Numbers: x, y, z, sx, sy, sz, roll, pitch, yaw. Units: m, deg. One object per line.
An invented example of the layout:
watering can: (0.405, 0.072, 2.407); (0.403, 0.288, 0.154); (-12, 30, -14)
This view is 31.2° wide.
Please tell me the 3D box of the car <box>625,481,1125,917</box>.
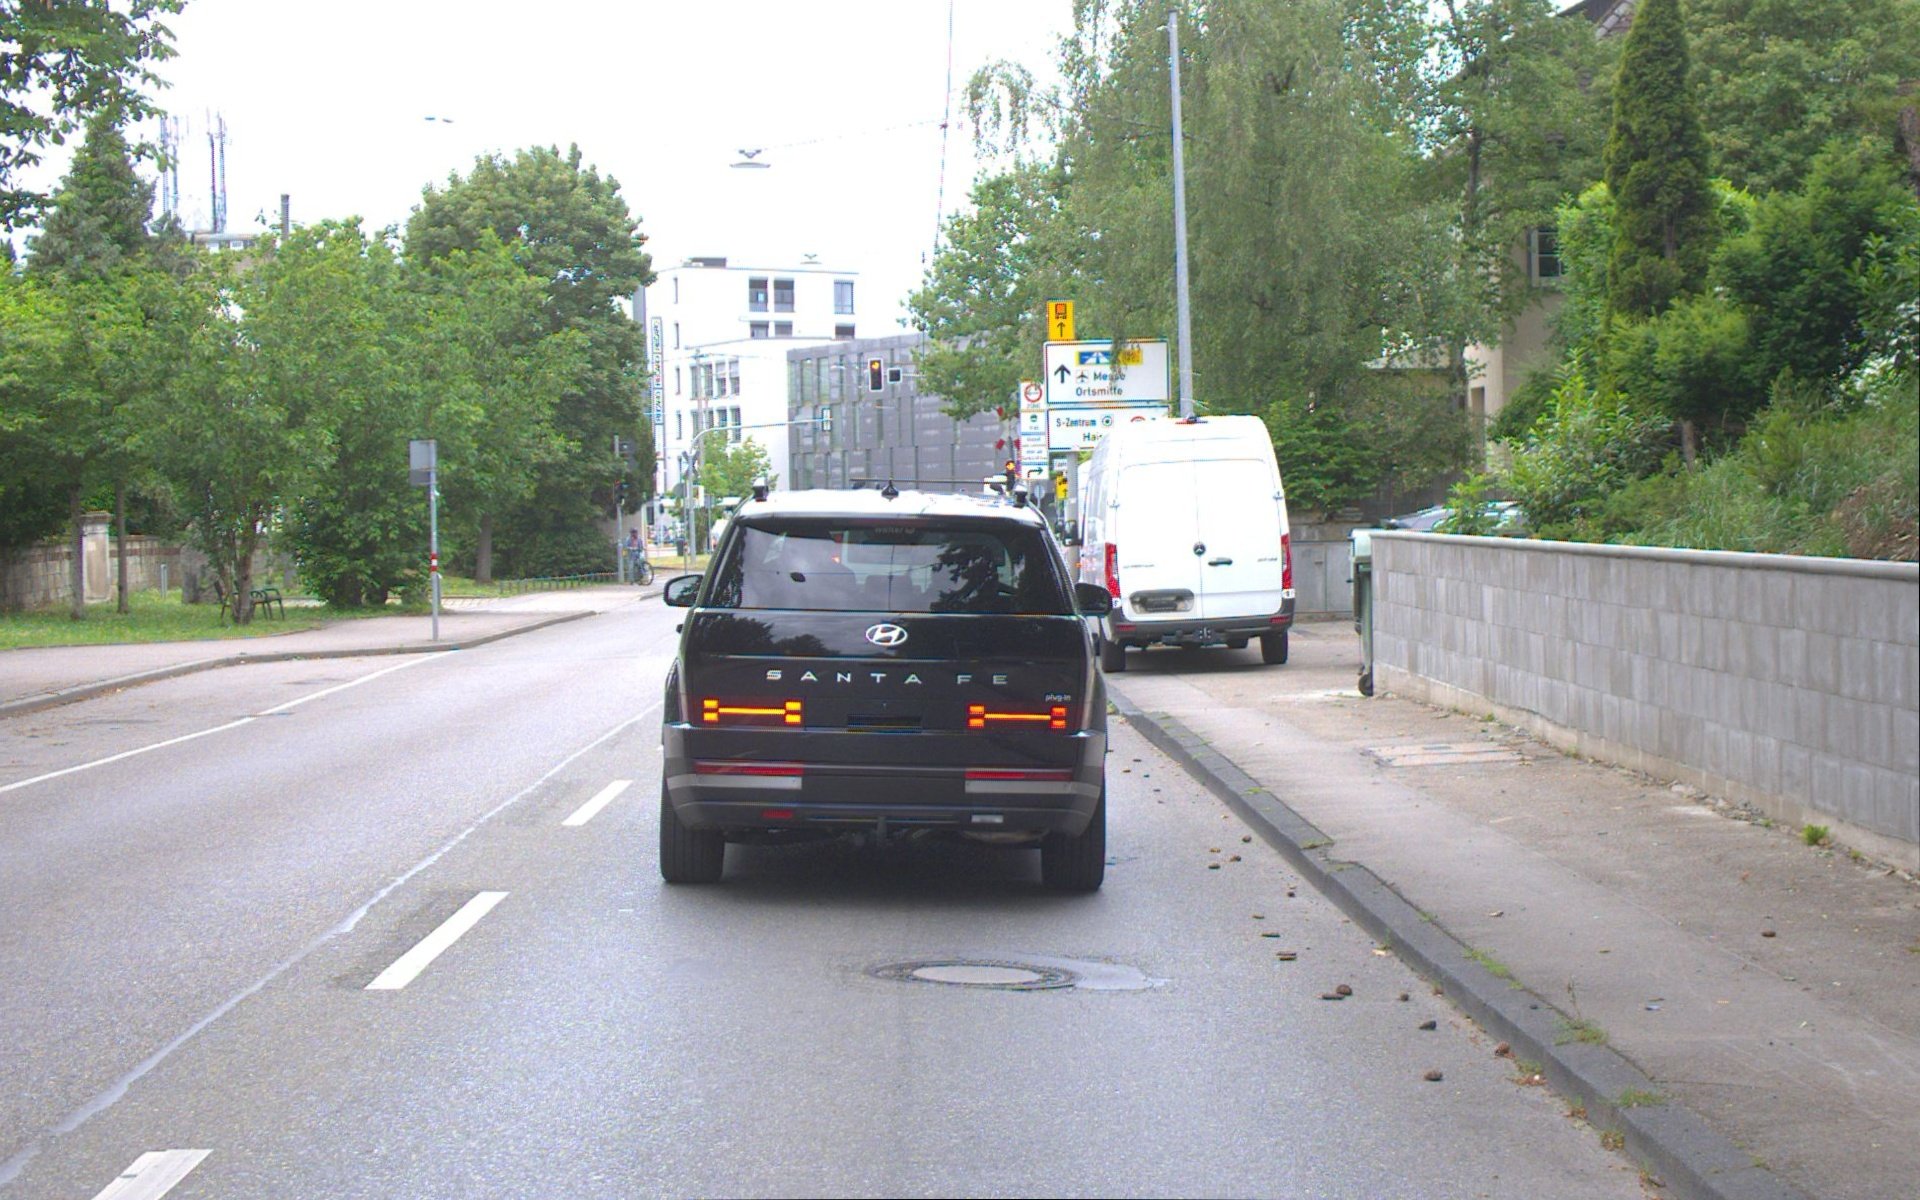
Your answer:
car: (-0.353, 0.354, 15.644); (1.963, 1.705, 4.000); (1, 1, 0)

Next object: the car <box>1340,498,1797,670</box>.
car: (6.217, -0.184, 35.480); (4.394, 1.646, 1.830); (-1, 1, 1)

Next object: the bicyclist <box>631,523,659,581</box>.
bicyclist: (-9.162, -1.393, 100.025); (0.675, 1.653, 0.859); (1, -1, -14)

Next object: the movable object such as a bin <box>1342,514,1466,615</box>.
movable object such as a bin: (6.606, -0.535, 51.255); (1.449, 1.468, 1.718); (1, 1, -6)

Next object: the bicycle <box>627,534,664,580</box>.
bicycle: (-9.164, -1.248, 99.995); (0.675, 1.275, 2.502); (1, -1, -14)

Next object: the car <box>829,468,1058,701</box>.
car: (-0.188, -0.177, 31.810); (1.963, 1.994, 4.000); (1, 1, -1)

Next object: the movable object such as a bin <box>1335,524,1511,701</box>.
movable object such as a bin: (3.942, 0.098, 29.361); (1.299, 1.445, 1.181); (-2, 1, 0)

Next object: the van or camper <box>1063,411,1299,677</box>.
van or camper: (2.349, -0.636, 38.220); (1.963, 2.619, 6.359); (-3, 1, -1)
